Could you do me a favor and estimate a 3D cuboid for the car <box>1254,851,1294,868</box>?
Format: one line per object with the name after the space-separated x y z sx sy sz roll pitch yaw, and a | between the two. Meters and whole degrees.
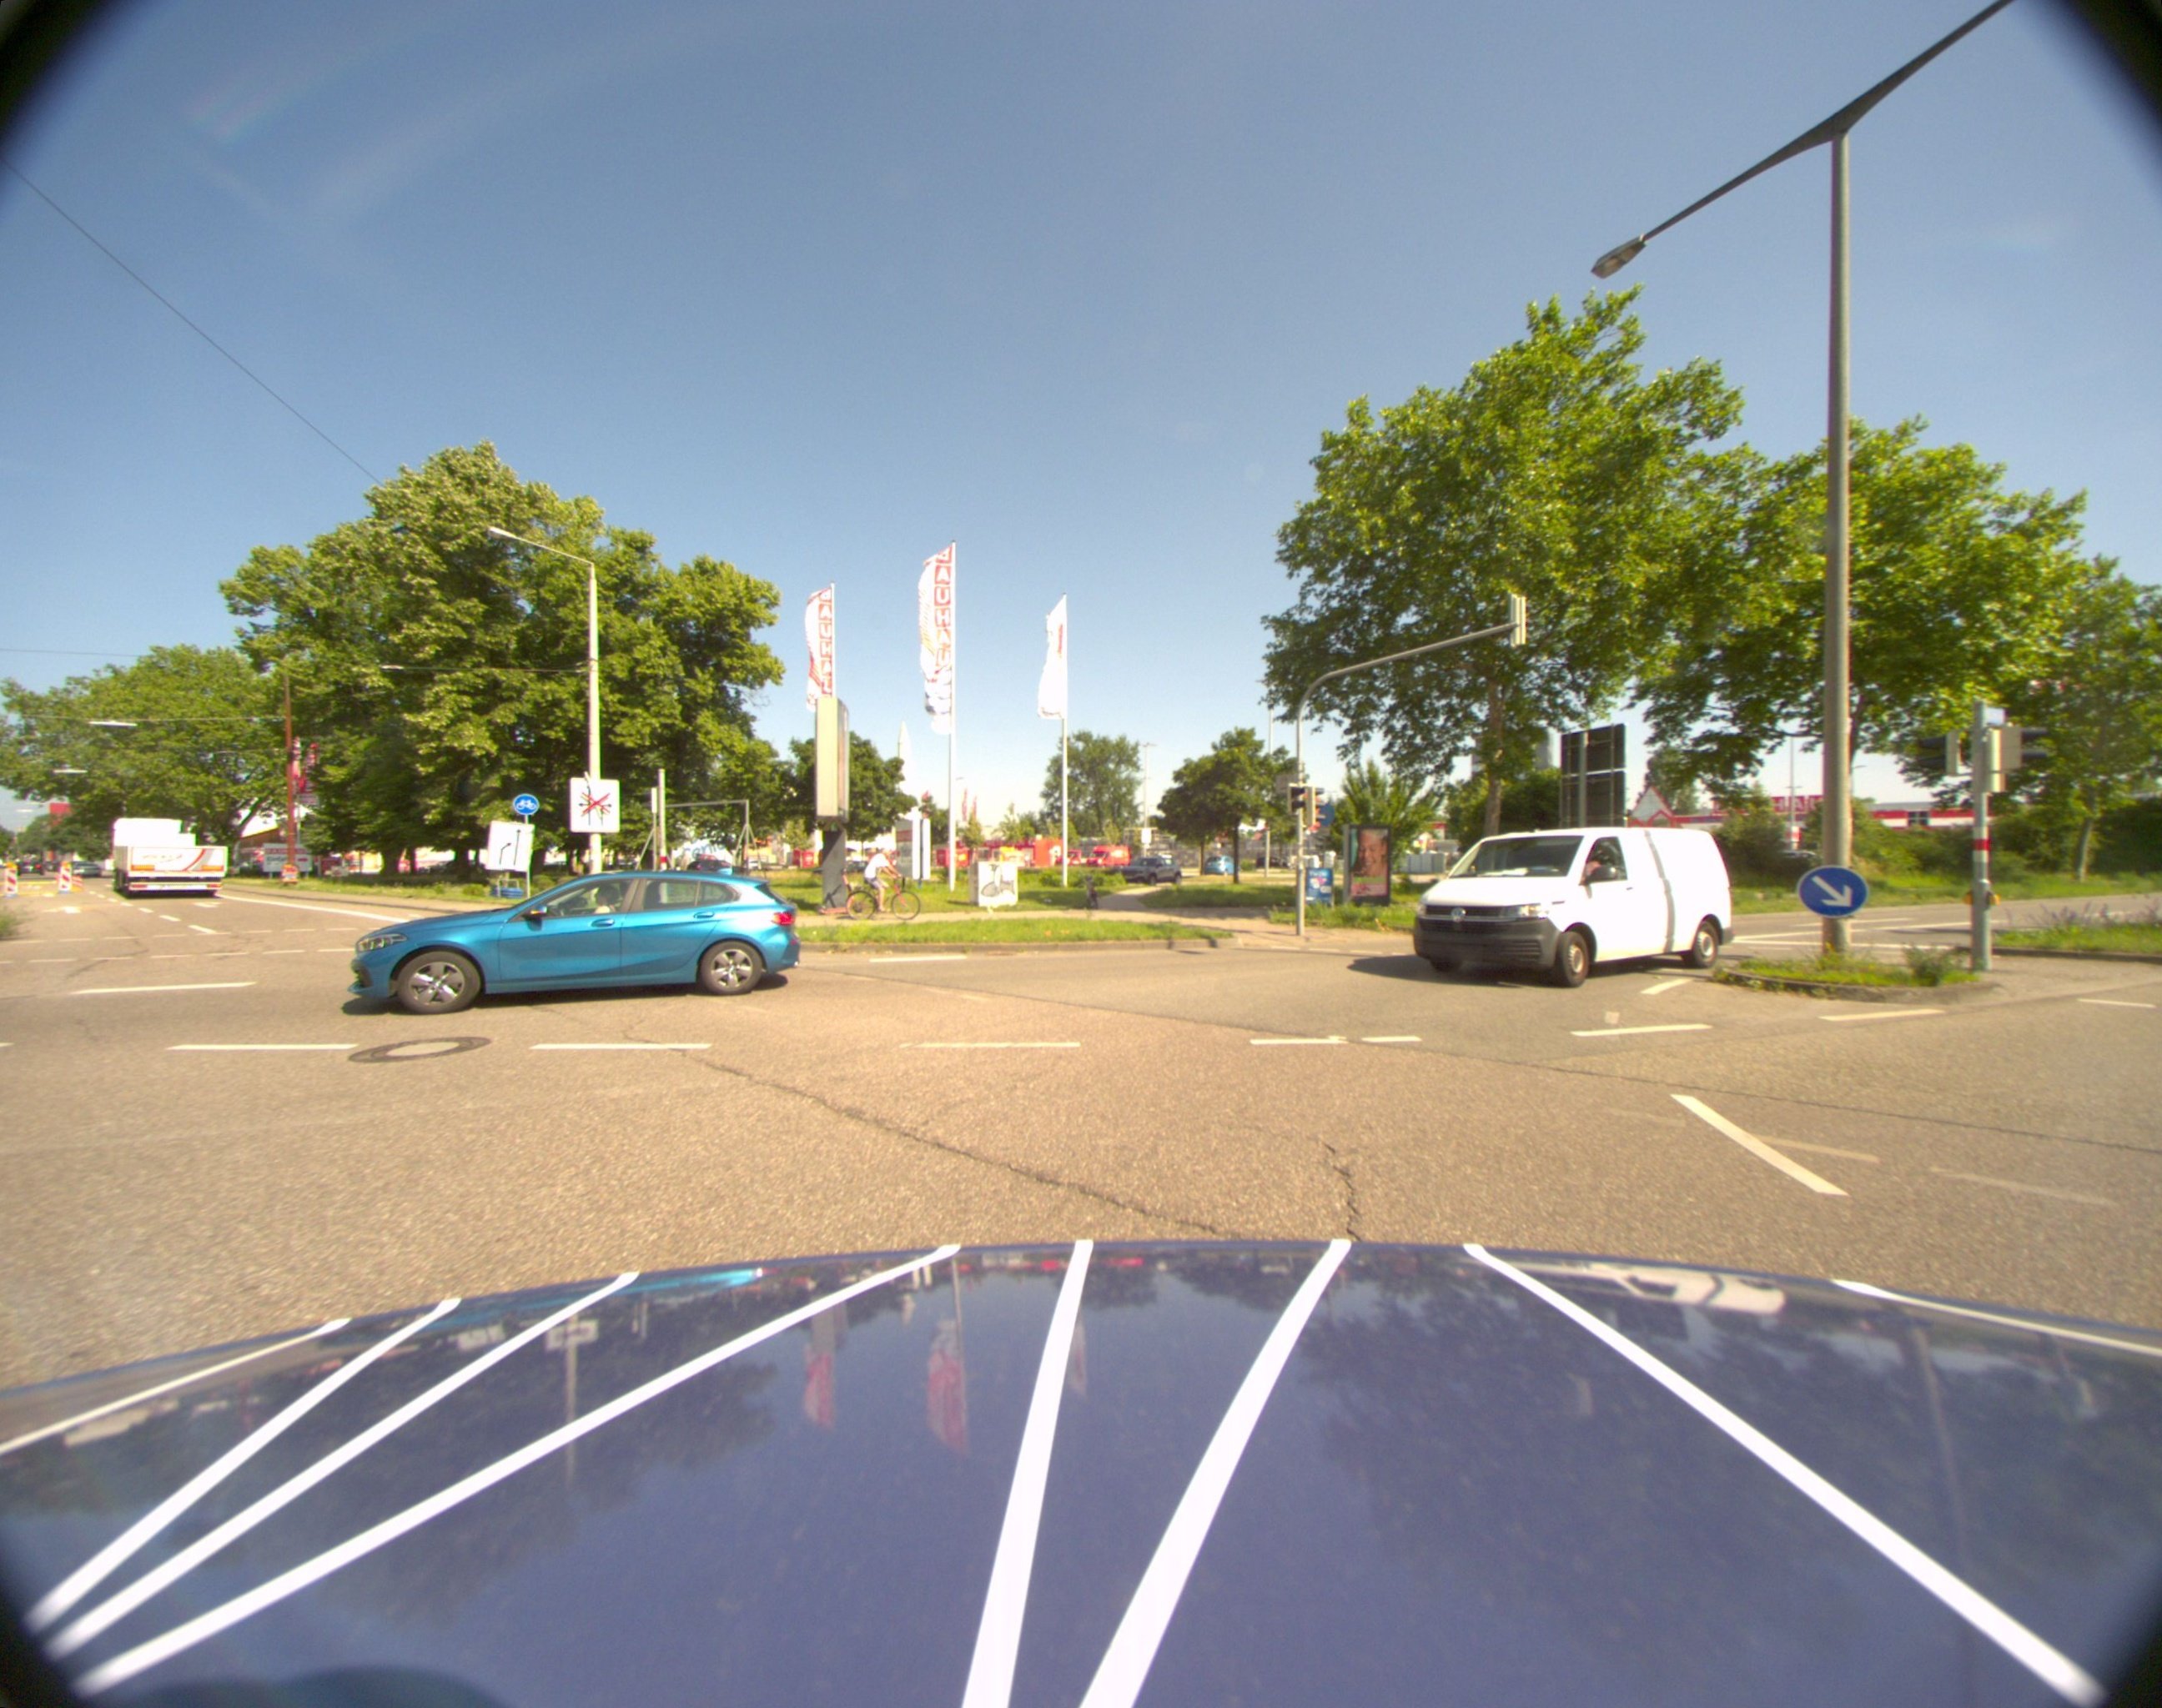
21.947 0.667 86.474 3.919 1.712 1.792 -3 -2 36 | car

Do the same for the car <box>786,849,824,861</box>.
-42.429 0.228 116.885 1.995 1.743 5.157 -3 -2 42 | car

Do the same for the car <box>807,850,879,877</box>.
-15.659 0.650 50.039 1.995 1.673 4.009 -3 -2 44 | car

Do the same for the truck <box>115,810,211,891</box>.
-46.245 -0.123 38.251 5.090 3.804 2.806 0 0 37 | truck

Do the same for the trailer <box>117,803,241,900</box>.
-40.899 -0.103 34.290 11.816 3.751 2.822 0 1 37 | trailer

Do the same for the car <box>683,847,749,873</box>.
-27.689 0.467 57.699 1.995 1.826 4.009 -3 -2 44 | car

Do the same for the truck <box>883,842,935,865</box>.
-19.496 -0.005 86.281 1.995 2.397 5.794 -3 -2 35 | truck

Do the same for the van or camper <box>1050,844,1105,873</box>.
-0.289 0.562 81.565 1.995 2.923 7.304 -3 -2 35 | van or camper

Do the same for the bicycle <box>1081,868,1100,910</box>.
0.278 1.010 22.549 0.496 1.133 1.908 -2 1 -1 | bicycle

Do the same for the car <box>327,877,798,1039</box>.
-5.507 1.027 8.786 4.135 1.411 1.870 -1 0 -22 | car

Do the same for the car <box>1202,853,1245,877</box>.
9.908 0.755 52.680 1.539 1.523 3.495 -3 -2 37 | car

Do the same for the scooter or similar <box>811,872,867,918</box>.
-6.294 1.062 19.774 1.375 1.142 0.435 0 1 -21 | scooter or similar

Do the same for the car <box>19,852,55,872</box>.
-112.635 0.912 81.948 3.989 2.001 2.004 -3 -2 32 | car

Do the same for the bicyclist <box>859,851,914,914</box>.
-4.668 0.655 18.240 1.237 1.469 0.758 0 1 -16 | bicyclist

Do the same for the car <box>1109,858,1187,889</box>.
3.320 0.932 36.920 1.901 1.411 4.009 -3 -2 37 | car

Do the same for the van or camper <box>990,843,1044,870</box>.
-7.320 0.326 87.994 1.995 2.923 7.304 -3 -2 35 | van or camper

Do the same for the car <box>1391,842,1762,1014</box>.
6.714 0.808 10.225 4.888 1.889 1.870 -1 0 -25 | car

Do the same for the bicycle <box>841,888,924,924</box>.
-4.775 1.239 18.331 1.912 0.789 0.533 0 1 -17 | bicycle

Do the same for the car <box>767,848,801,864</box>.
-40.846 0.316 104.556 1.995 2.001 4.008 -2 -2 28 | car

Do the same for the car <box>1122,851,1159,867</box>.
6.193 0.566 78.946 1.784 1.520 4.402 -3 -2 35 | car
